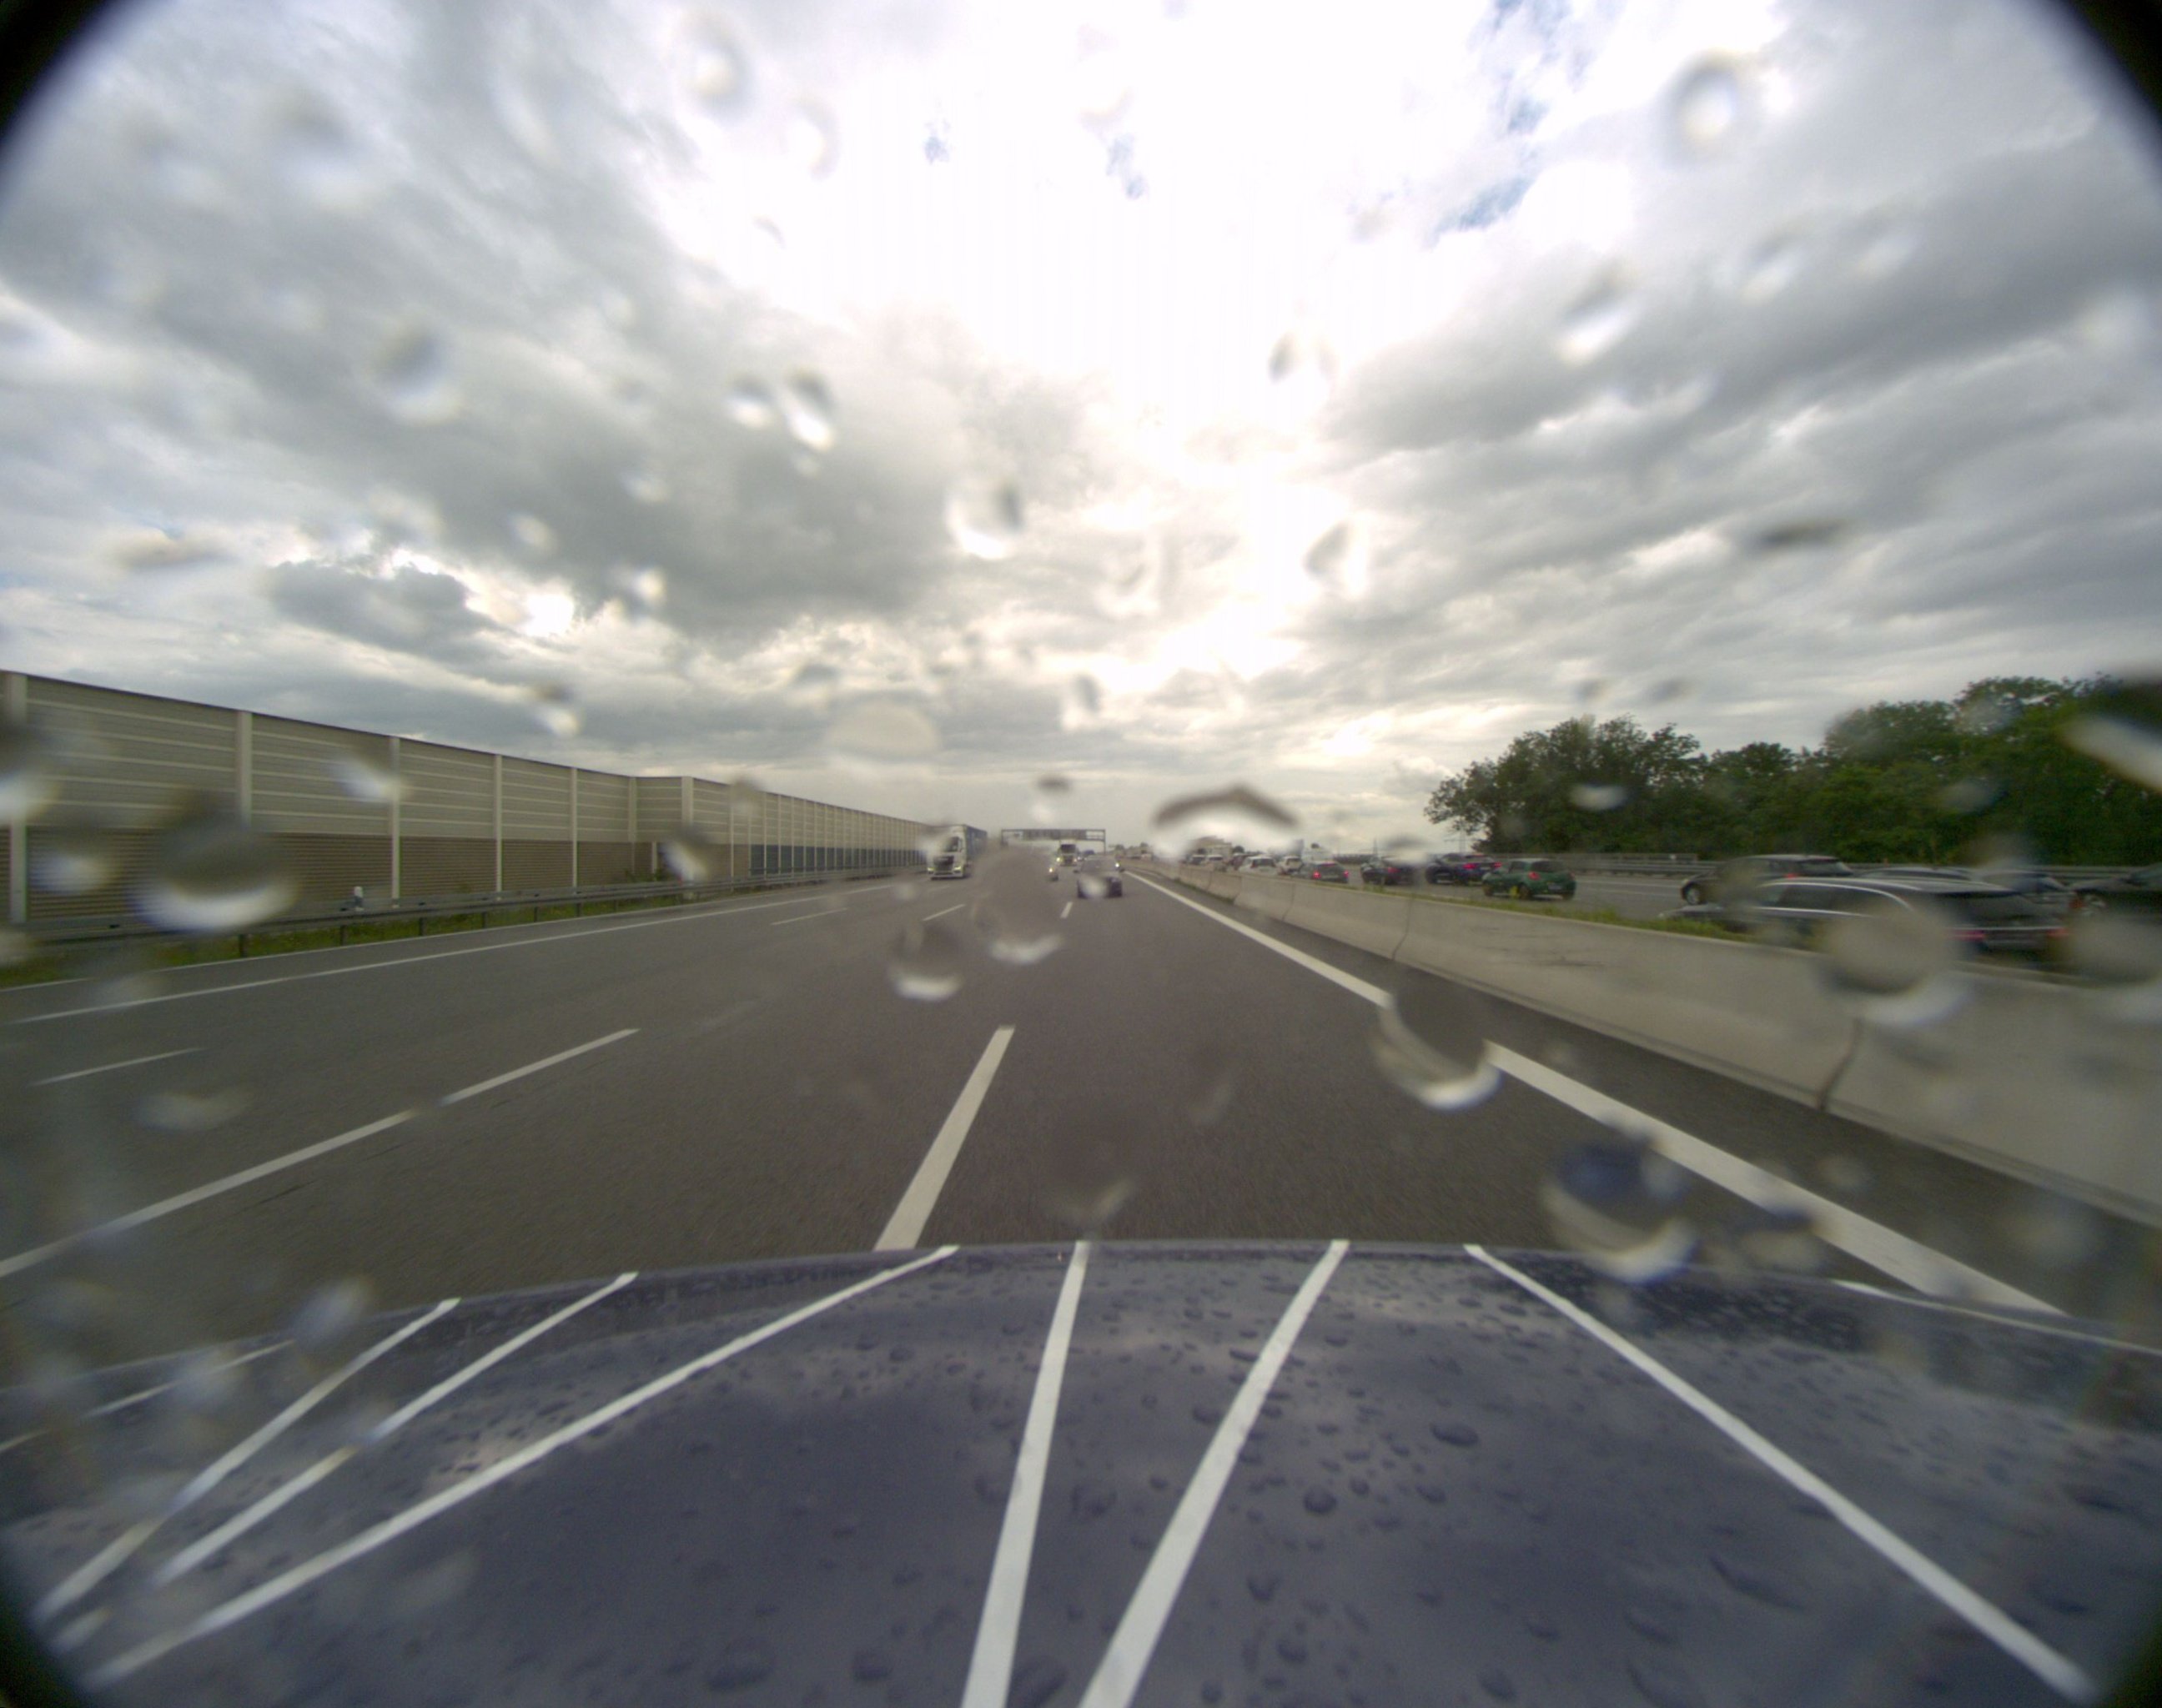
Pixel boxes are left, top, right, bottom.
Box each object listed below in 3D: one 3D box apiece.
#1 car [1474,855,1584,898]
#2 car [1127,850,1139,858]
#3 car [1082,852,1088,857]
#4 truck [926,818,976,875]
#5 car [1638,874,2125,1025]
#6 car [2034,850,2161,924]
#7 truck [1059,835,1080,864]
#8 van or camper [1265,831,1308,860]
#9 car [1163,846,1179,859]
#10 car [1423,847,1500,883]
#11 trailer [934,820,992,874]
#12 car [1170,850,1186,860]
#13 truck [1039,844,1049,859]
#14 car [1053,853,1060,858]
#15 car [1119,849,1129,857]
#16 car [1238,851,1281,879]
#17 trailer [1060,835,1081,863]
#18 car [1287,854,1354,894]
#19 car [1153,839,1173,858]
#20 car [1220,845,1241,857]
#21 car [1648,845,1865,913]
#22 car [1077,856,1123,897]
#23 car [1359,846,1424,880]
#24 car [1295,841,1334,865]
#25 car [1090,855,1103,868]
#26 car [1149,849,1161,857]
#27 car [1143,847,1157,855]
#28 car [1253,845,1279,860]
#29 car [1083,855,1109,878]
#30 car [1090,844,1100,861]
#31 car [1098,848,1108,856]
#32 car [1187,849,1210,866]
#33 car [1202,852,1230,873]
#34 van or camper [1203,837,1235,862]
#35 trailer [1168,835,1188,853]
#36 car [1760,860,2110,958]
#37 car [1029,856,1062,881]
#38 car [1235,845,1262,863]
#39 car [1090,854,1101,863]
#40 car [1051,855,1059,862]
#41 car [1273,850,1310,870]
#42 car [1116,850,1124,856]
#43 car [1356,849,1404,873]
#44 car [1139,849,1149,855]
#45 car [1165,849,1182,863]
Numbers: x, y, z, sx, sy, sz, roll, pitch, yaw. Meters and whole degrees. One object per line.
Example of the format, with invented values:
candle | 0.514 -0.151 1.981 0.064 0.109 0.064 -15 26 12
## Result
car | 16.515 0.770 28.275 1.727 1.410 4.201 0 1 2
car | 11.215 -0.100 163.702 2.065 1.636 5.379 -1 0 0
car | 1.134 0.236 209.772 1.698 1.395 4.000 -1 0 0
truck | -9.746 -0.525 57.636 2.752 4.011 5.725 -2 0 0
car | 10.916 1.147 11.155 1.727 1.420 5.230 -2 1 2
car | 23.076 0.697 15.479 1.727 1.420 4.519 -2 1 2
truck | -1.645 -0.711 114.574 2.913 4.146 5.192 -3 0 0
van or camper | 23.831 -0.997 88.554 2.631 3.105 8.475 -3 1 0
car | 16.687 -0.302 141.101 2.065 2.223 5.893 -1 0 0
car | 19.333 0.488 38.788 1.727 1.636 4.519 -2 1 2
trailer | -9.801 -0.513 64.936 2.768 4.008 14.451 -2 0 0
car | 16.368 0.171 128.433 2.065 1.526 4.518 -1 0 0
truck | -10.500 -0.723 214.161 2.600 4.088 11.367 -2 0 -4
car | -6.611 0.401 204.070 1.698 1.395 4.000 -1 0 0
car | 11.601 -0.289 204.937 2.065 1.869 6.327 -1 0 0
car | 11.589 0.670 49.694 1.727 1.636 4.997 -2 1 2
trailer | -1.664 -0.726 120.459 2.926 4.188 13.195 -2 0 0
car | 11.320 0.901 36.243 1.727 1.636 4.992 -2 1 2
car | 12.855 -0.816 120.381 2.236 2.733 9.165 -1 -1 1
car | 19.578 -0.426 99.426 1.852 1.538 5.018 -2 1 2
car | 19.184 0.614 21.999 1.727 1.636 5.236 -2 1 2
car | 0.727 0.779 28.675 1.578 1.395 4.000 -1 0 2
car | 16.705 0.416 41.071 1.727 1.636 4.519 -2 1 2
car | 19.828 -0.142 64.744 1.692 1.925 5.547 -3 1 1
car | 1.816 0.860 90.416 1.498 1.395 4.000 -1 0 1
car | 16.136 -0.246 165.614 2.065 1.636 6.119 -1 0 0
car | 12.699 -0.545 140.957 2.065 1.526 5.469 -1 0 0
car | 20.422 -0.188 83.979 1.727 1.448 5.018 -2 1 2
car | 1.078 0.855 53.904 1.776 1.451 4.480 -1 0 2
car | 2.607 -0.354 140.570 1.645 3.041 4.589 -1 0 0
car | 4.660 -0.336 161.010 2.065 1.636 4.518 -1 0 0
car | 12.283 0.357 79.885 1.727 1.636 5.062 -2 1 2
car | 12.249 0.743 69.278 1.727 1.636 5.062 -2 1 2
van or camper | 16.969 -0.598 93.819 2.631 2.934 7.357 -3 1 0
trailer | 23.646 -2.321 186.477 2.939 4.008 14.451 -2 0 0
car | 15.948 0.920 14.646 1.727 1.420 4.519 -2 1 2
car | -2.125 0.819 45.976 1.732 1.395 4.000 -1 0 0
car | 16.722 0.000 76.043 1.727 1.636 4.519 -2 1 2
car | 2.220 0.679 114.992 1.498 1.395 4.000 -1 0 2
car | -5.600 1.017 164.829 1.698 1.395 4.000 -1 0 0
car | 16.677 0.456 60.462 1.727 1.407 4.519 -2 1 2
car | 11.220 -0.290 220.066 2.065 1.525 4.997 -1 0 0
car | 19.890 0.424 50.733 1.727 1.470 3.960 -2 1 2
car | 16.153 -0.428 193.838 2.065 1.526 5.469 -1 0 0
car | 12.252 0.236 100.843 1.727 1.636 4.519 -2 1 2
